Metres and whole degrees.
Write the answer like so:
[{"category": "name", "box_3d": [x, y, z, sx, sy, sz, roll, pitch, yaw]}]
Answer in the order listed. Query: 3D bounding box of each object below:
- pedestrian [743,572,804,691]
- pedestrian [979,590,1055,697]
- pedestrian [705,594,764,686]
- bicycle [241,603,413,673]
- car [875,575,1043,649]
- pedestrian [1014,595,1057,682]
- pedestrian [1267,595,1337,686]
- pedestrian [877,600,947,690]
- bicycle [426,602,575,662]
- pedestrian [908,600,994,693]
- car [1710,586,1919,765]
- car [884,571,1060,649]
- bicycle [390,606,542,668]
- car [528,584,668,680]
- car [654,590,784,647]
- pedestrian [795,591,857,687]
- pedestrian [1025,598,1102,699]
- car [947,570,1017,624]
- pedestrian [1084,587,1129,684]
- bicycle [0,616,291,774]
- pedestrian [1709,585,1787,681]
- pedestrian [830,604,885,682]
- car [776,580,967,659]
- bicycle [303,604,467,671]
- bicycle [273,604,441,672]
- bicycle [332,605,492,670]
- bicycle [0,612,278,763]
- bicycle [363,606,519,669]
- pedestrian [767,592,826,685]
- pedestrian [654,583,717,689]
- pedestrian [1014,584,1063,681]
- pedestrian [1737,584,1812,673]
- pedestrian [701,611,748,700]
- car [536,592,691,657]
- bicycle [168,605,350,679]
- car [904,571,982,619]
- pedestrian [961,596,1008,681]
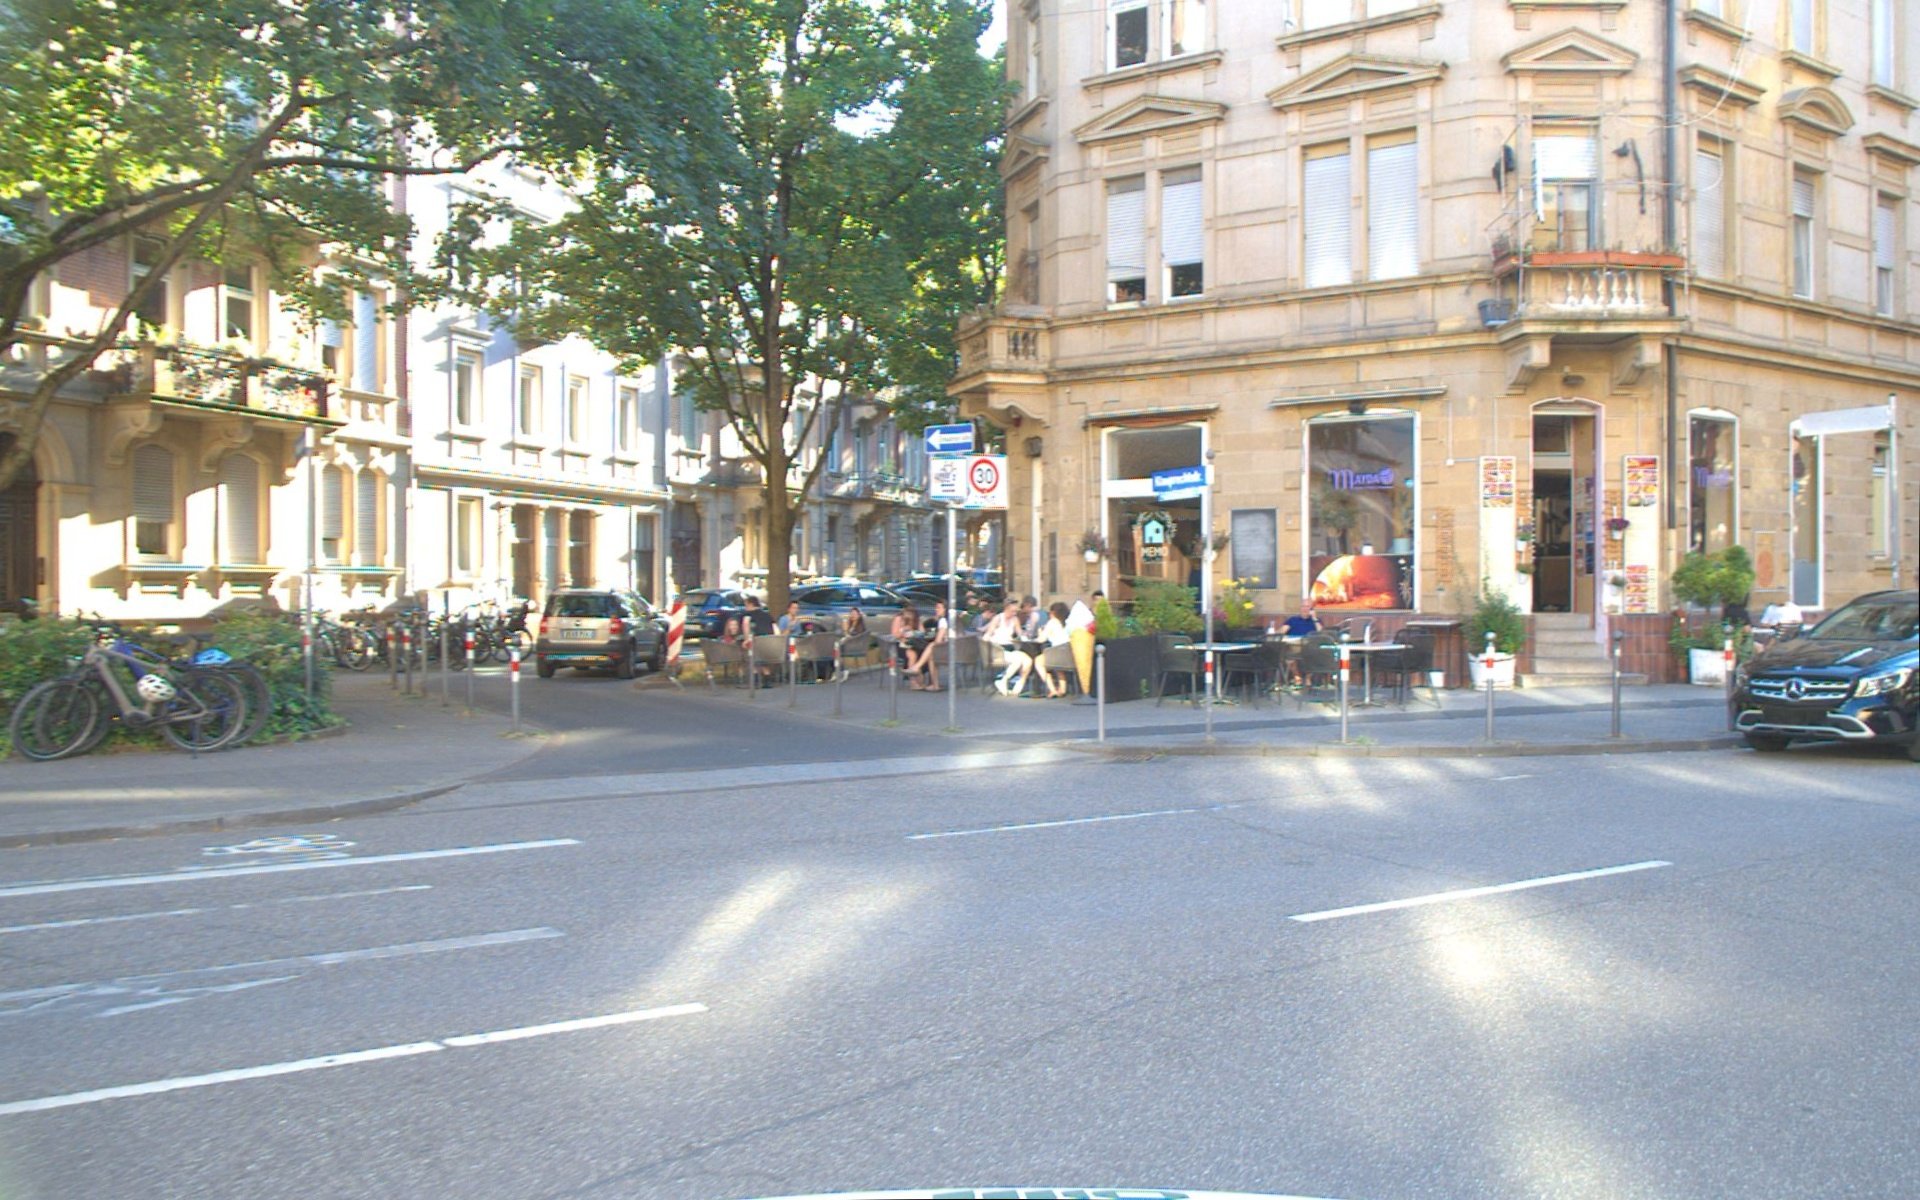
[{"category": "pedestrian", "box_3d": [-2.890, 0.476, 25.649, 0.755, 1.801, 0.567, -1, -1, -25]}, {"category": "pedestrian", "box_3d": [0.778, 0.582, 22.647, 0.743, 1.435, 0.724, 0, 0, 41]}, {"category": "pedestrian", "box_3d": [-3.627, 0.639, 26.606, 0.754, 1.437, 0.663, -1, -1, -23]}, {"category": "bicycle", "box_3d": [-11.270, 0.677, 29.423, 3.061, 1.201, 0.752, 0, 0, 18]}, {"category": "car", "box_3d": [-0.054, 0.279, 40.686, 3.912, 1.713, 1.997, -1, 0, -8]}, {"category": "pedestrian", "box_3d": [1.133, 0.573, 24.782, 0.430, 1.270, 0.475, -2, 1, -39]}, {"category": "pedestrian", "box_3d": [4.756, 0.552, 22.978, 0.712, 1.235, 0.754, 0, 0, 34]}, {"category": "pedestrian", "box_3d": [-0.701, 0.649, 24.187, 0.742, 1.270, 0.696, -2, 1, -39]}, {"category": "bicycle", "box_3d": [-9.564, 0.667, 34.409, 3.061, 1.201, 0.752, 0, 0, 18]}, {"category": "pedestrian", "box_3d": [-0.127, 0.641, 23.498, 0.742, 1.270, 1.010, -2, 1, -40]}, {"category": "car", "box_3d": [9.208, 0.629, 15.906, 4.088, 1.514, 1.744, -1, 0, -34]}, {"category": "car", "box_3d": [0.303, 0.224, 38.000, 3.904, 1.713, 2.001, -1, 0, 2]}, {"category": "bicycle", "box_3d": [-9.962, 0.738, 33.336, 3.061, 1.201, 0.752, 0, 0, 18]}, {"category": "car", "box_3d": [-6.884, 0.569, 31.855, 1.953, 1.713, 3.998, -1, 0, -2]}, {"category": "car", "box_3d": [-6.264, 0.456, 43.411, 1.883, 1.400, 3.753, 0, 0, 18]}, {"category": "pedestrian", "box_3d": [-2.108, 0.610, 25.991, 0.755, 1.467, 0.663, -1, -1, -25]}, {"category": "pedestrian", "box_3d": [1.386, 0.630, 22.092, 0.732, 1.312, 0.738, 0, 0, 43]}, {"category": "car", "box_3d": [0.927, -0.118, 67.048, 1.769, 2.121, 3.753, 0, 0, 18]}, {"category": "pedestrian", "box_3d": [2.139, 0.510, 24.183, 0.474, 1.391, 0.431, -1, 1, 45]}, {"category": "bicycle", "box_3d": [-7.229, 0.776, 13.915, 2.922, 1.217, 0.541, -1, 0, -34]}, {"category": "pedestrian", "box_3d": [10.793, 0.442, 22.644, 0.749, 1.281, 0.717, -1, 0, -39]}, {"category": "pedestrian", "box_3d": [-1.663, 0.690, 26.747, 0.667, 1.237, 0.662, -1, -1, -27]}, {"category": "car", "box_3d": [-1.888, 0.385, 34.790, 3.757, 1.589, 1.797, -1, 0, -13]}, {"category": "bicycle", "box_3d": [-10.765, 0.699, 30.966, 3.061, 1.201, 0.752, 0, 0, 18]}, {"category": "bicycle", "box_3d": [-11.013, 0.687, 30.171, 3.061, 1.201, 0.752, 0, 0, 18]}, {"category": "bicycle", "box_3d": [-10.526, 0.711, 31.742, 3.061, 1.201, 0.752, 0, 0, 18]}, {"category": "bicycle", "box_3d": [-7.548, 0.744, 14.410, 2.922, 1.217, 0.541, -1, 0, -34]}, {"category": "bicycle", "box_3d": [-10.216, 0.725, 32.529, 3.061, 1.201, 0.752, 0, 0, 18]}, {"category": "pedestrian", "box_3d": [-2.660, 0.617, 26.856, 0.755, 1.467, 0.663, -1, -1, -25]}, {"category": "pedestrian", "box_3d": [-4.505, 0.587, 27.098, 0.759, 1.699, 0.659, -1, -1, -39]}, {"category": "pedestrian", "box_3d": [1.212, 0.495, 25.540, 0.559, 1.456, 0.479, -1, 1, 42]}, {"category": "pedestrian", "box_3d": [11.578, 0.394, 23.502, 0.749, 1.235, 0.717, -1, 0, -39]}, {"category": "pedestrian", "box_3d": [-3.656, 0.859, 25.680, 0.563, 1.343, 0.501, -1, 1, -27]}, {"category": "car", "box_3d": [-7.984, 0.541, 38.452, 1.883, 1.400, 3.753, 0, 0, 18]}, {"category": "bicycle", "box_3d": [-11.795, 0.695, 27.810, 3.061, 1.201, 0.752, 0, 0, 18]}, {"category": "car", "box_3d": [-0.603, -0.203, 61.979, 1.769, 1.713, 3.753, 0, 0, 18]}, {"category": "pedestrian", "box_3d": [0.375, 0.580, 25.394, 0.505, 1.270, 0.475, -2, 1, -39]}]
